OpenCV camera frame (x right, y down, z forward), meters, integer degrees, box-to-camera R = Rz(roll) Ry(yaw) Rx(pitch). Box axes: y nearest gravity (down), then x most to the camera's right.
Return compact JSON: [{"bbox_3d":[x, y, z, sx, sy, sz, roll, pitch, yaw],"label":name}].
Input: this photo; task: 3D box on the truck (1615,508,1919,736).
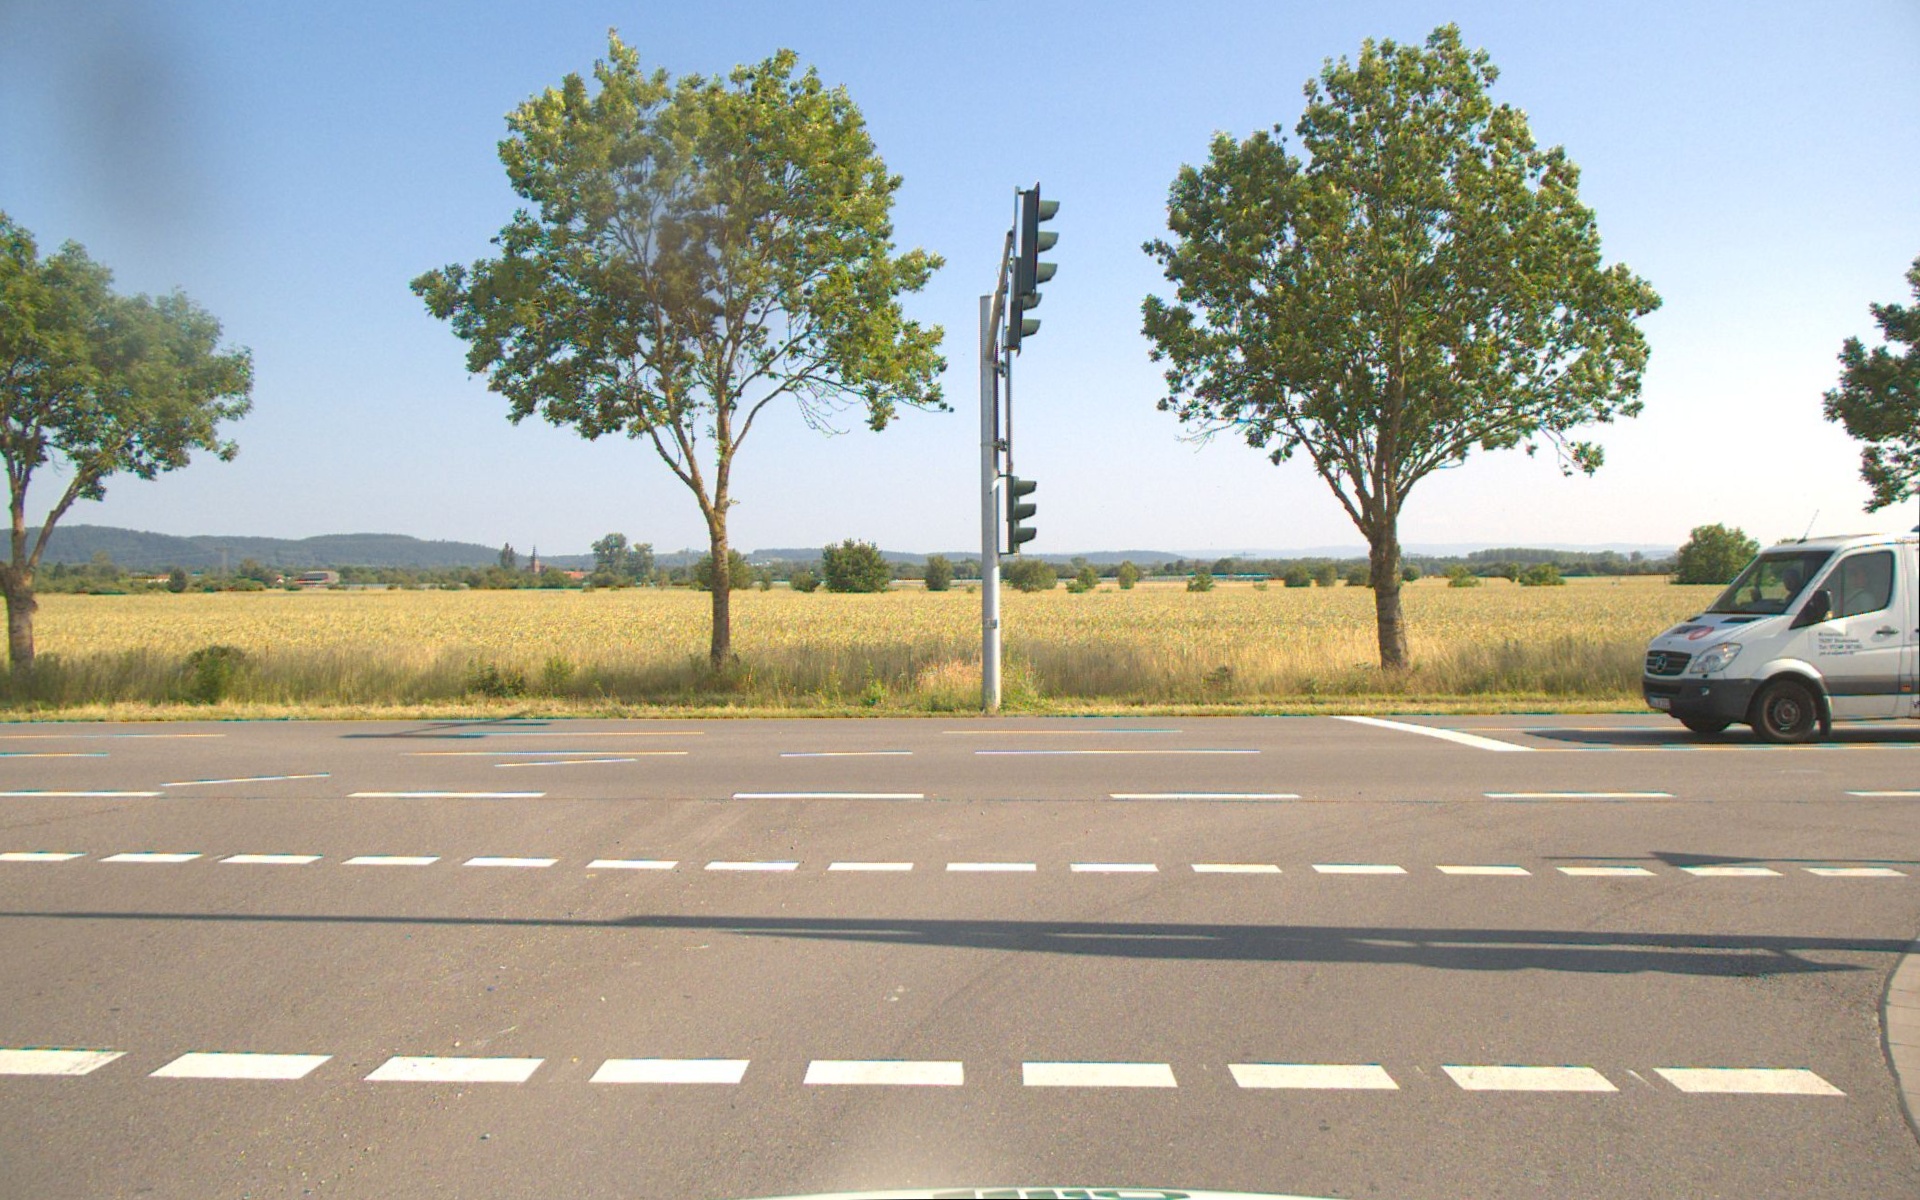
[{"bbox_3d":[10.943,0.230,18.965,6.053,2.447,2.070,0,-1,-2],"label":"truck"}]
